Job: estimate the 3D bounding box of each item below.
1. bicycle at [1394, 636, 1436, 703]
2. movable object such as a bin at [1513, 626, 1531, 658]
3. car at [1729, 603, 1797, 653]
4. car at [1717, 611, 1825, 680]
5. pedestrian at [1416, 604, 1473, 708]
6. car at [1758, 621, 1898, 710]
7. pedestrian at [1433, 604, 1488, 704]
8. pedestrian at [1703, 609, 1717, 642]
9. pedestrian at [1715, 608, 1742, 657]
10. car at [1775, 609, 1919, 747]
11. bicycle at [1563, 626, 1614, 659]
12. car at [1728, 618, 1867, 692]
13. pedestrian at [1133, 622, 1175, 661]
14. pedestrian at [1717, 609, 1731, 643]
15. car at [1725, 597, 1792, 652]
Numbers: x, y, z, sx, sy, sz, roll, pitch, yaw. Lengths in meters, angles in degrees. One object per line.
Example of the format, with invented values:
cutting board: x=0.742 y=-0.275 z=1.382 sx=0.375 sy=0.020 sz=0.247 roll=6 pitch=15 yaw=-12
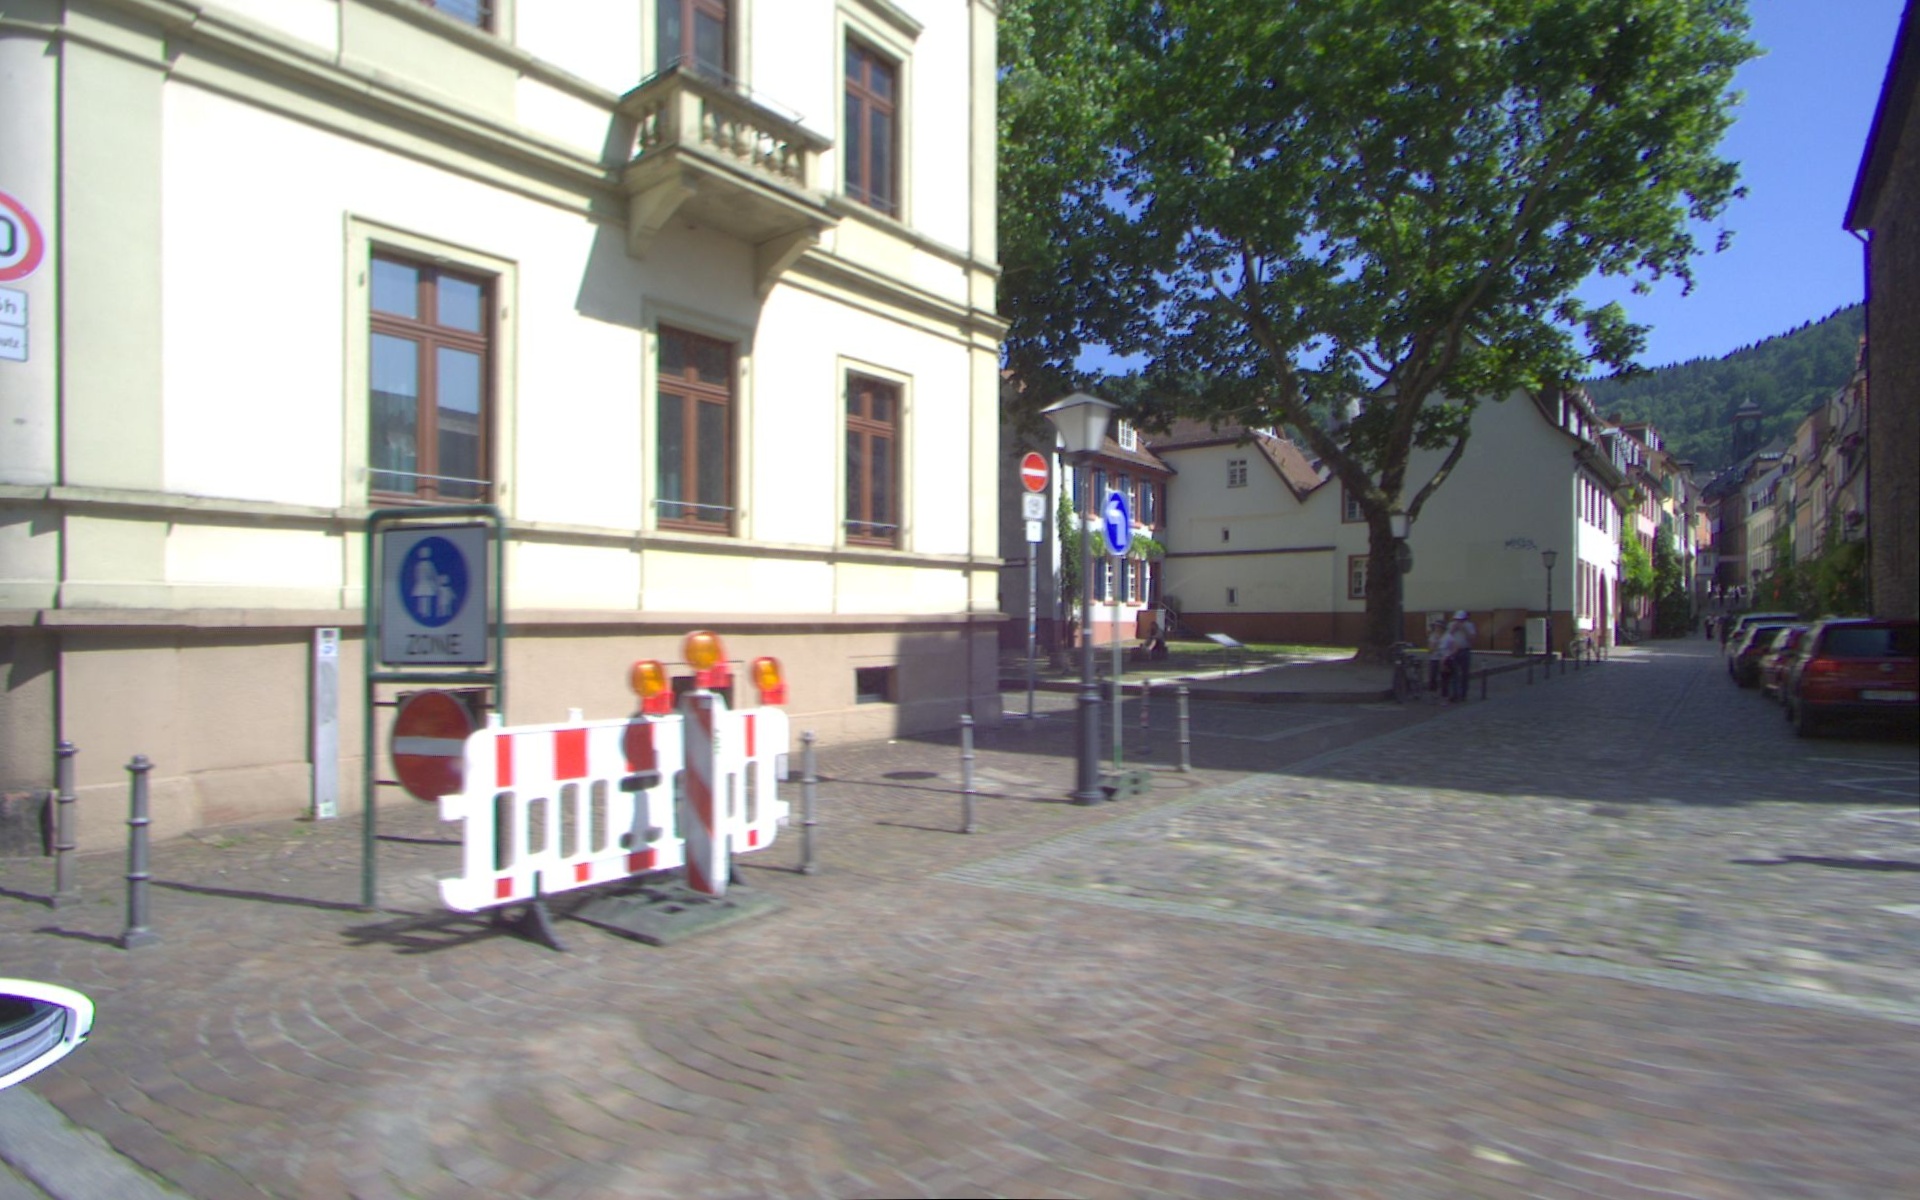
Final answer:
bicycle: x=8.919 y=1.335 z=19.600 sx=0.317 sy=1.225 sz=1.808 roll=0 pitch=0 yaw=39
movable object such as a bin: x=18.285 y=1.358 z=32.560 sx=0.491 sy=1.048 sz=0.459 roll=0 pitch=-1 yaw=32
car: x=34.414 y=1.182 z=42.872 sx=1.979 sy=2.017 sz=4.051 roll=-1 pitch=-1 yaw=43
car: x=22.438 y=1.203 z=27.846 sx=1.972 sy=1.798 sz=3.588 roll=-1 pitch=-1 yaw=33
pedestrian: x=9.035 y=1.026 z=18.668 sx=0.795 sy=1.876 sz=0.860 roll=0 pitch=-1 yaw=39
car: x=16.268 y=1.165 z=18.907 sx=1.604 sy=1.519 sz=2.988 roll=-1 pitch=-1 yaw=33
pedestrian: x=9.720 y=1.031 z=19.452 sx=0.795 sy=1.876 sz=0.860 roll=0 pitch=-1 yaw=39
pedestrian: x=45.711 y=1.554 z=61.043 sx=0.635 sy=2.040 sz=0.642 roll=0 pitch=0 yaw=41
pedestrian: x=28.208 y=1.195 z=36.754 sx=0.764 sy=1.790 sz=0.798 roll=0 pitch=-1 yaw=37
car: x=13.090 y=1.027 z=14.401 sx=1.914 sy=1.723 sz=4.149 roll=-1 pitch=-1 yaw=37
bicycle: x=22.460 y=1.513 z=35.804 sx=1.771 sy=1.157 sz=0.497 roll=0 pitch=2 yaw=-18
car: x=19.107 y=1.197 z=23.045 sx=1.972 sy=1.520 sz=4.153 roll=-1 pitch=-1 yaw=33
pedestrian: x=5.922 y=1.251 z=30.518 sx=0.972 sy=1.162 sz=0.811 roll=0 pitch=0 yaw=-25
pedestrian: x=46.220 y=1.542 z=60.582 sx=0.635 sy=2.040 sz=0.642 roll=0 pitch=0 yaw=41
car: x=31.339 y=0.956 z=39.280 sx=1.976 sy=2.017 sz=4.056 roll=-1 pitch=-1 yaw=39
